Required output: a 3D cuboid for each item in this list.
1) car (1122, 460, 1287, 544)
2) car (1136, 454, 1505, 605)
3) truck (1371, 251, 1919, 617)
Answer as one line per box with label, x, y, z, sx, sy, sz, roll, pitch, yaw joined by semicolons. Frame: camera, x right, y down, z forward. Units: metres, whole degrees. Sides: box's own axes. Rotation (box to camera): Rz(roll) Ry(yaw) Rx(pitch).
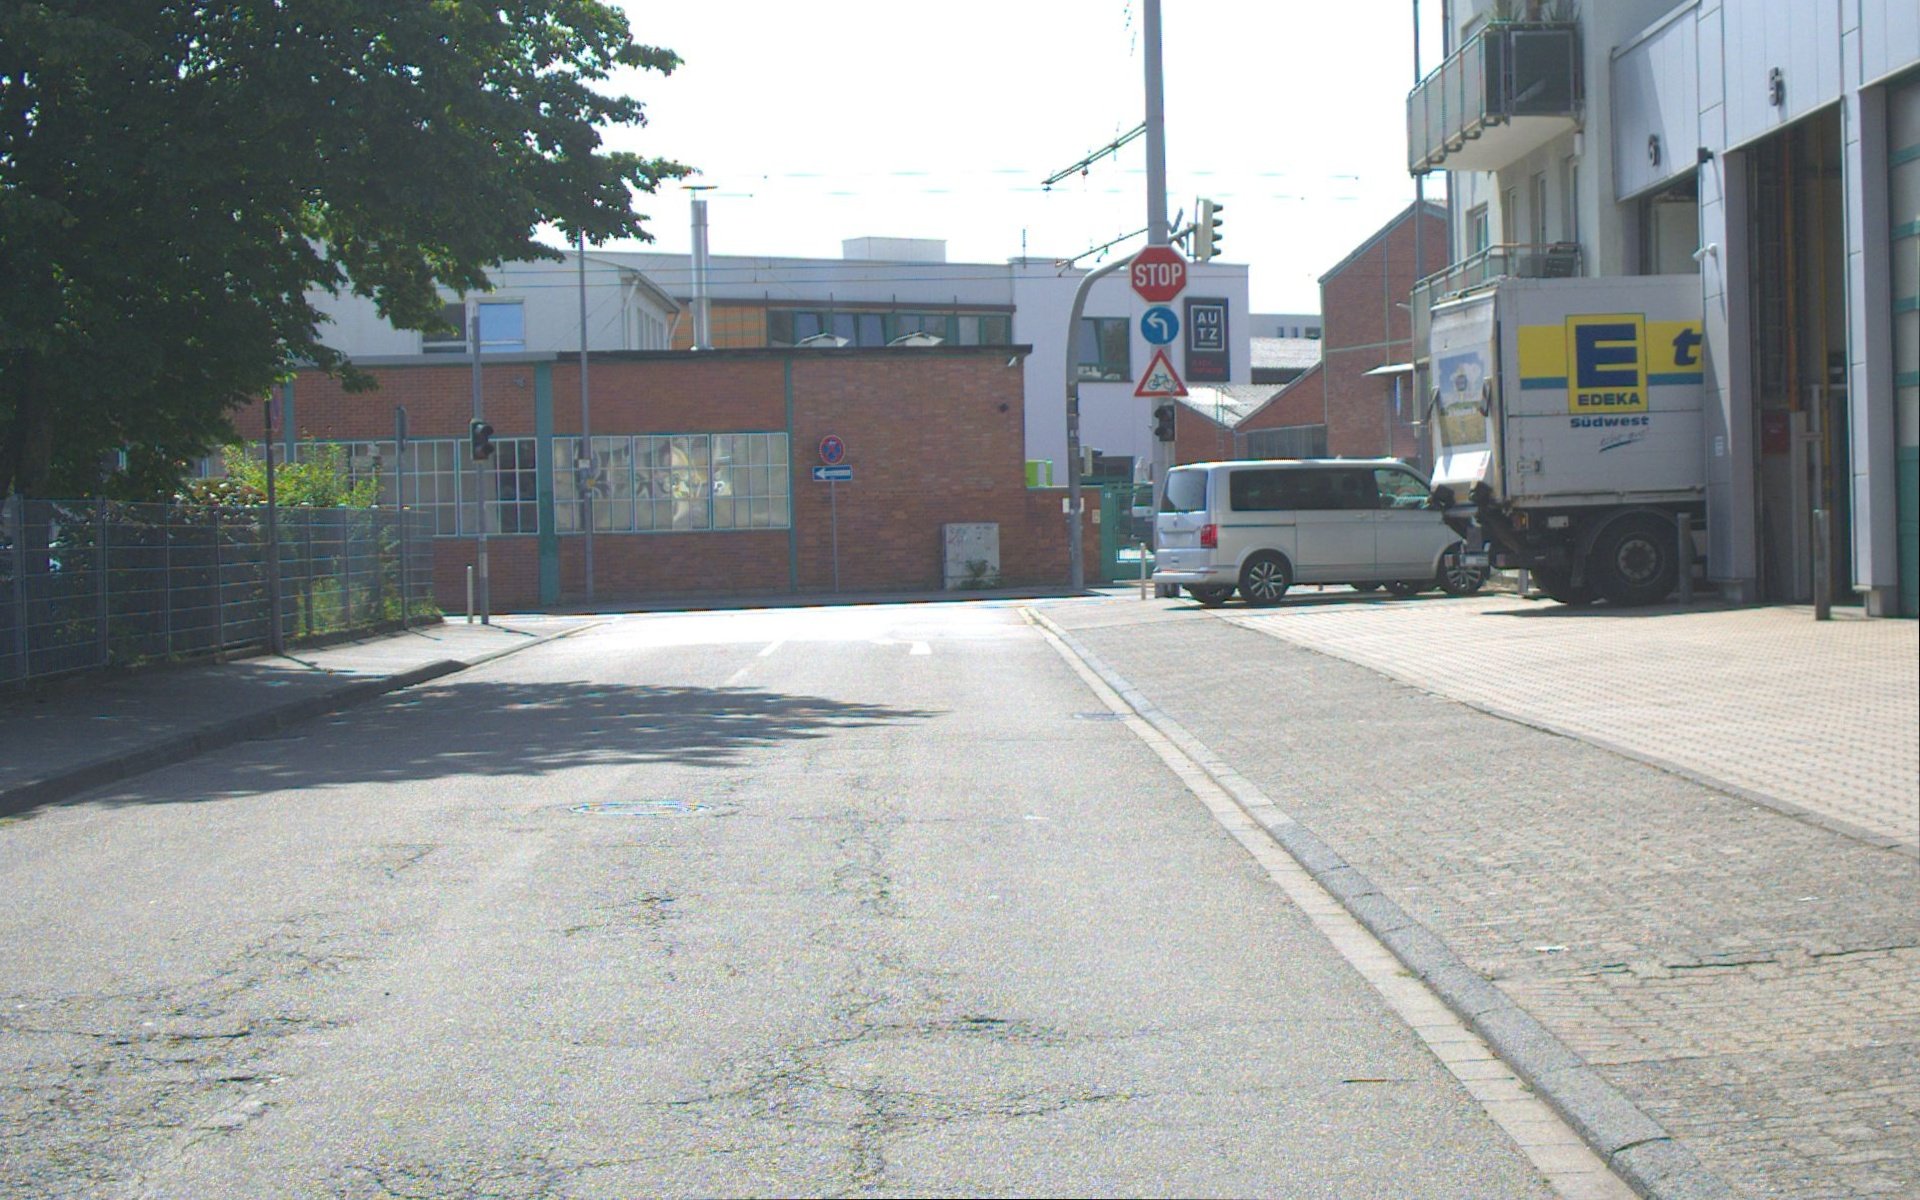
car;6.571;-2.634;92.367;3.987;2.182;2.000;-2;2;-32
car;4.955;-0.986;47.352;4.653;1.951;1.917;-2;1;-19
truck;8.685;-1.919;38.951;7.357;3.633;2.768;-4;2;-6
